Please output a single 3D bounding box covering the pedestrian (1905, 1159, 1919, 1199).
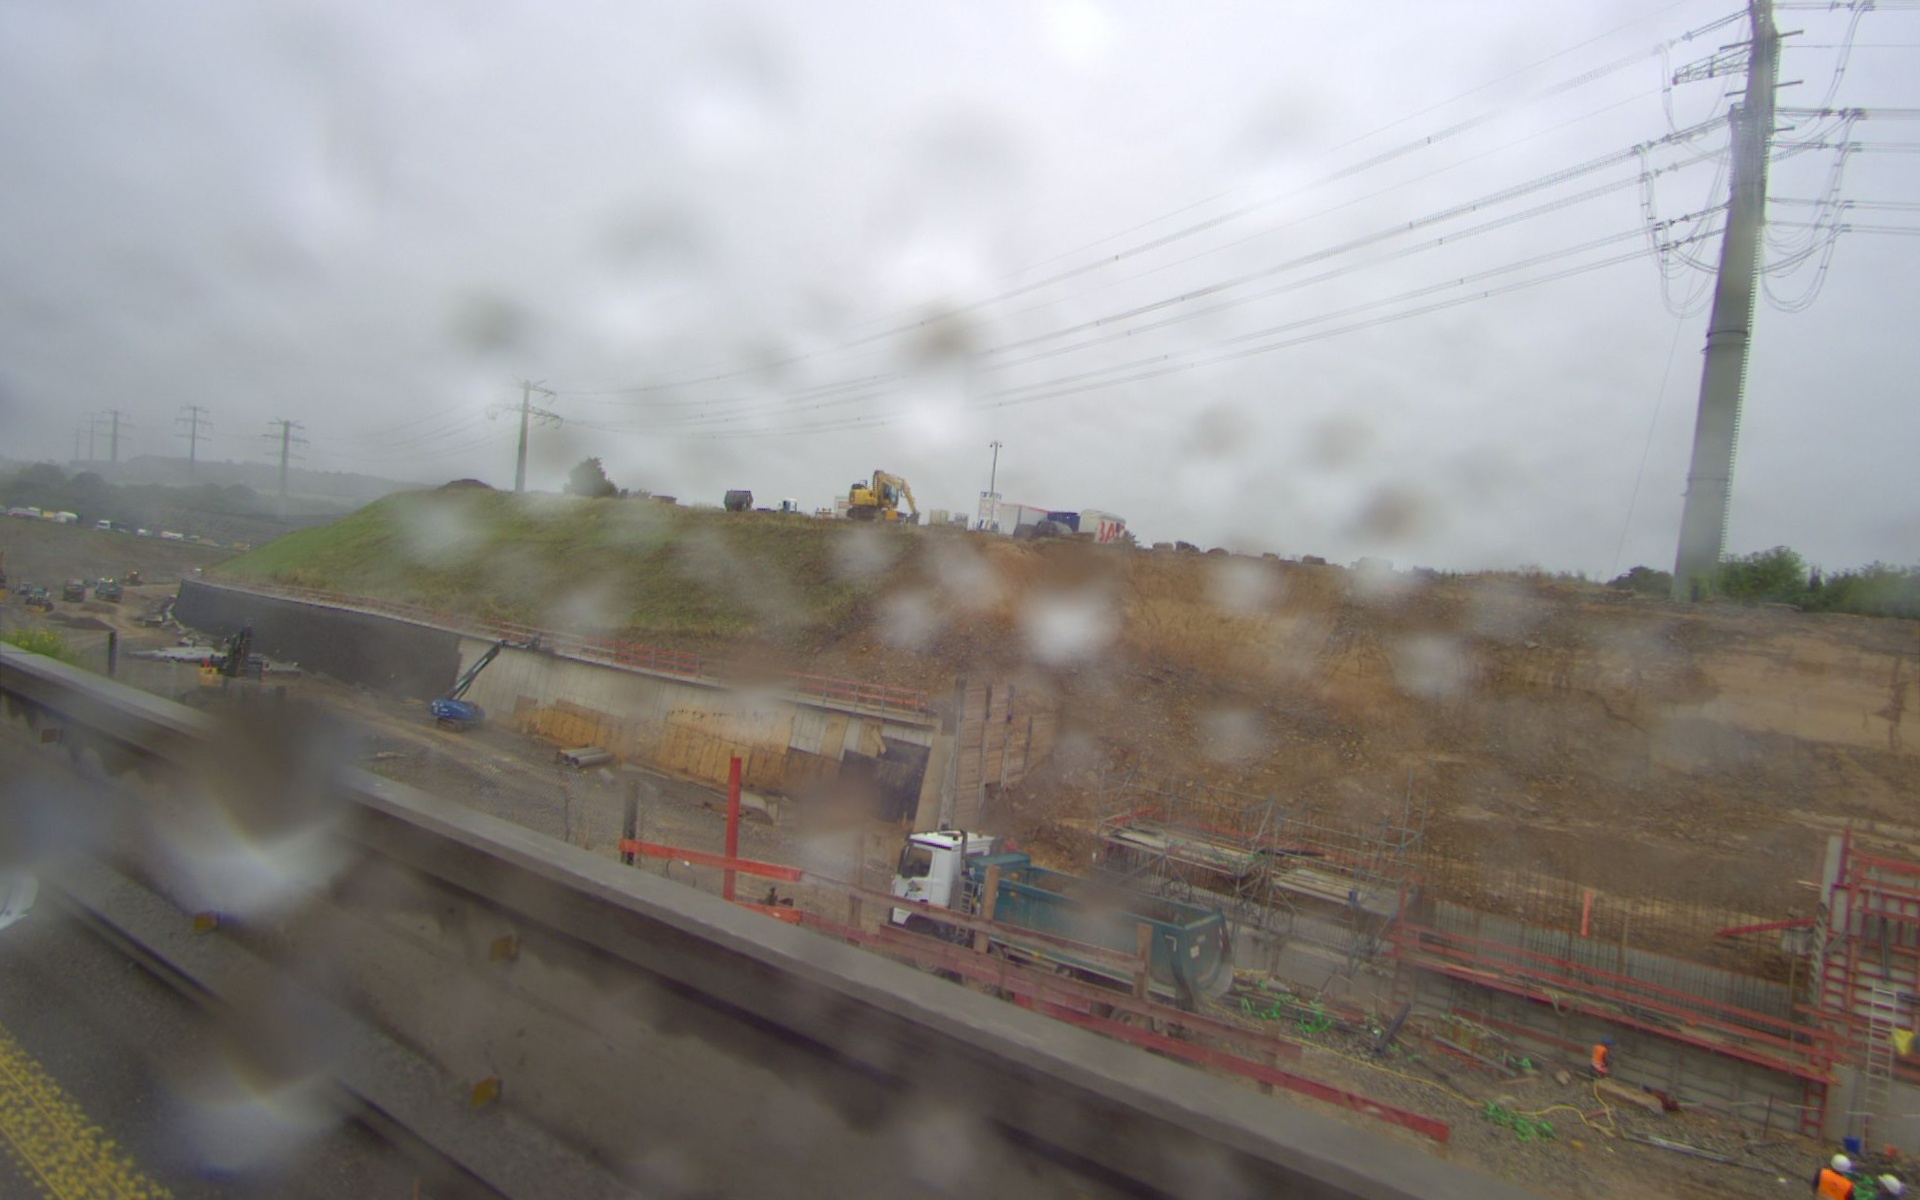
[{"bbox_3d":[15.158,9.801,15.508,0.721,1.967,0.575,6,-1,3],"label":"pedestrian"}]

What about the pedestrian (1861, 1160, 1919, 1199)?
[{"bbox_3d":[14.318,9.795,15.447,0.724,1.891,0.573,6,-1,38],"label":"pedestrian"}]

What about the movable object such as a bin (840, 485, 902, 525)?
[{"bbox_3d":[-6.907,-7.366,77.772,3.910,2.473,2.428,8,0,39],"label":"movable object such as a bin"}]

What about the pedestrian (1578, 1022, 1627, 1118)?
[{"bbox_3d":[16.734,12.189,26.184,0.891,2.013,0.901,5,-11,35],"label":"pedestrian"}]

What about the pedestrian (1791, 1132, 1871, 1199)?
[{"bbox_3d":[14.118,9.805,16.370,0.567,1.891,0.732,7,-1,-22],"label":"pedestrian"}]

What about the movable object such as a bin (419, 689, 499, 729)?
[{"bbox_3d":[-30.935,6.725,62.211,3.772,2.035,2.002,6,-4,-5],"label":"movable object such as a bin"}]

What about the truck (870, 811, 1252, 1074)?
[{"bbox_3d":[2.194,7.957,24.807,8.926,3.531,2.731,6,-2,36],"label":"truck"}]
